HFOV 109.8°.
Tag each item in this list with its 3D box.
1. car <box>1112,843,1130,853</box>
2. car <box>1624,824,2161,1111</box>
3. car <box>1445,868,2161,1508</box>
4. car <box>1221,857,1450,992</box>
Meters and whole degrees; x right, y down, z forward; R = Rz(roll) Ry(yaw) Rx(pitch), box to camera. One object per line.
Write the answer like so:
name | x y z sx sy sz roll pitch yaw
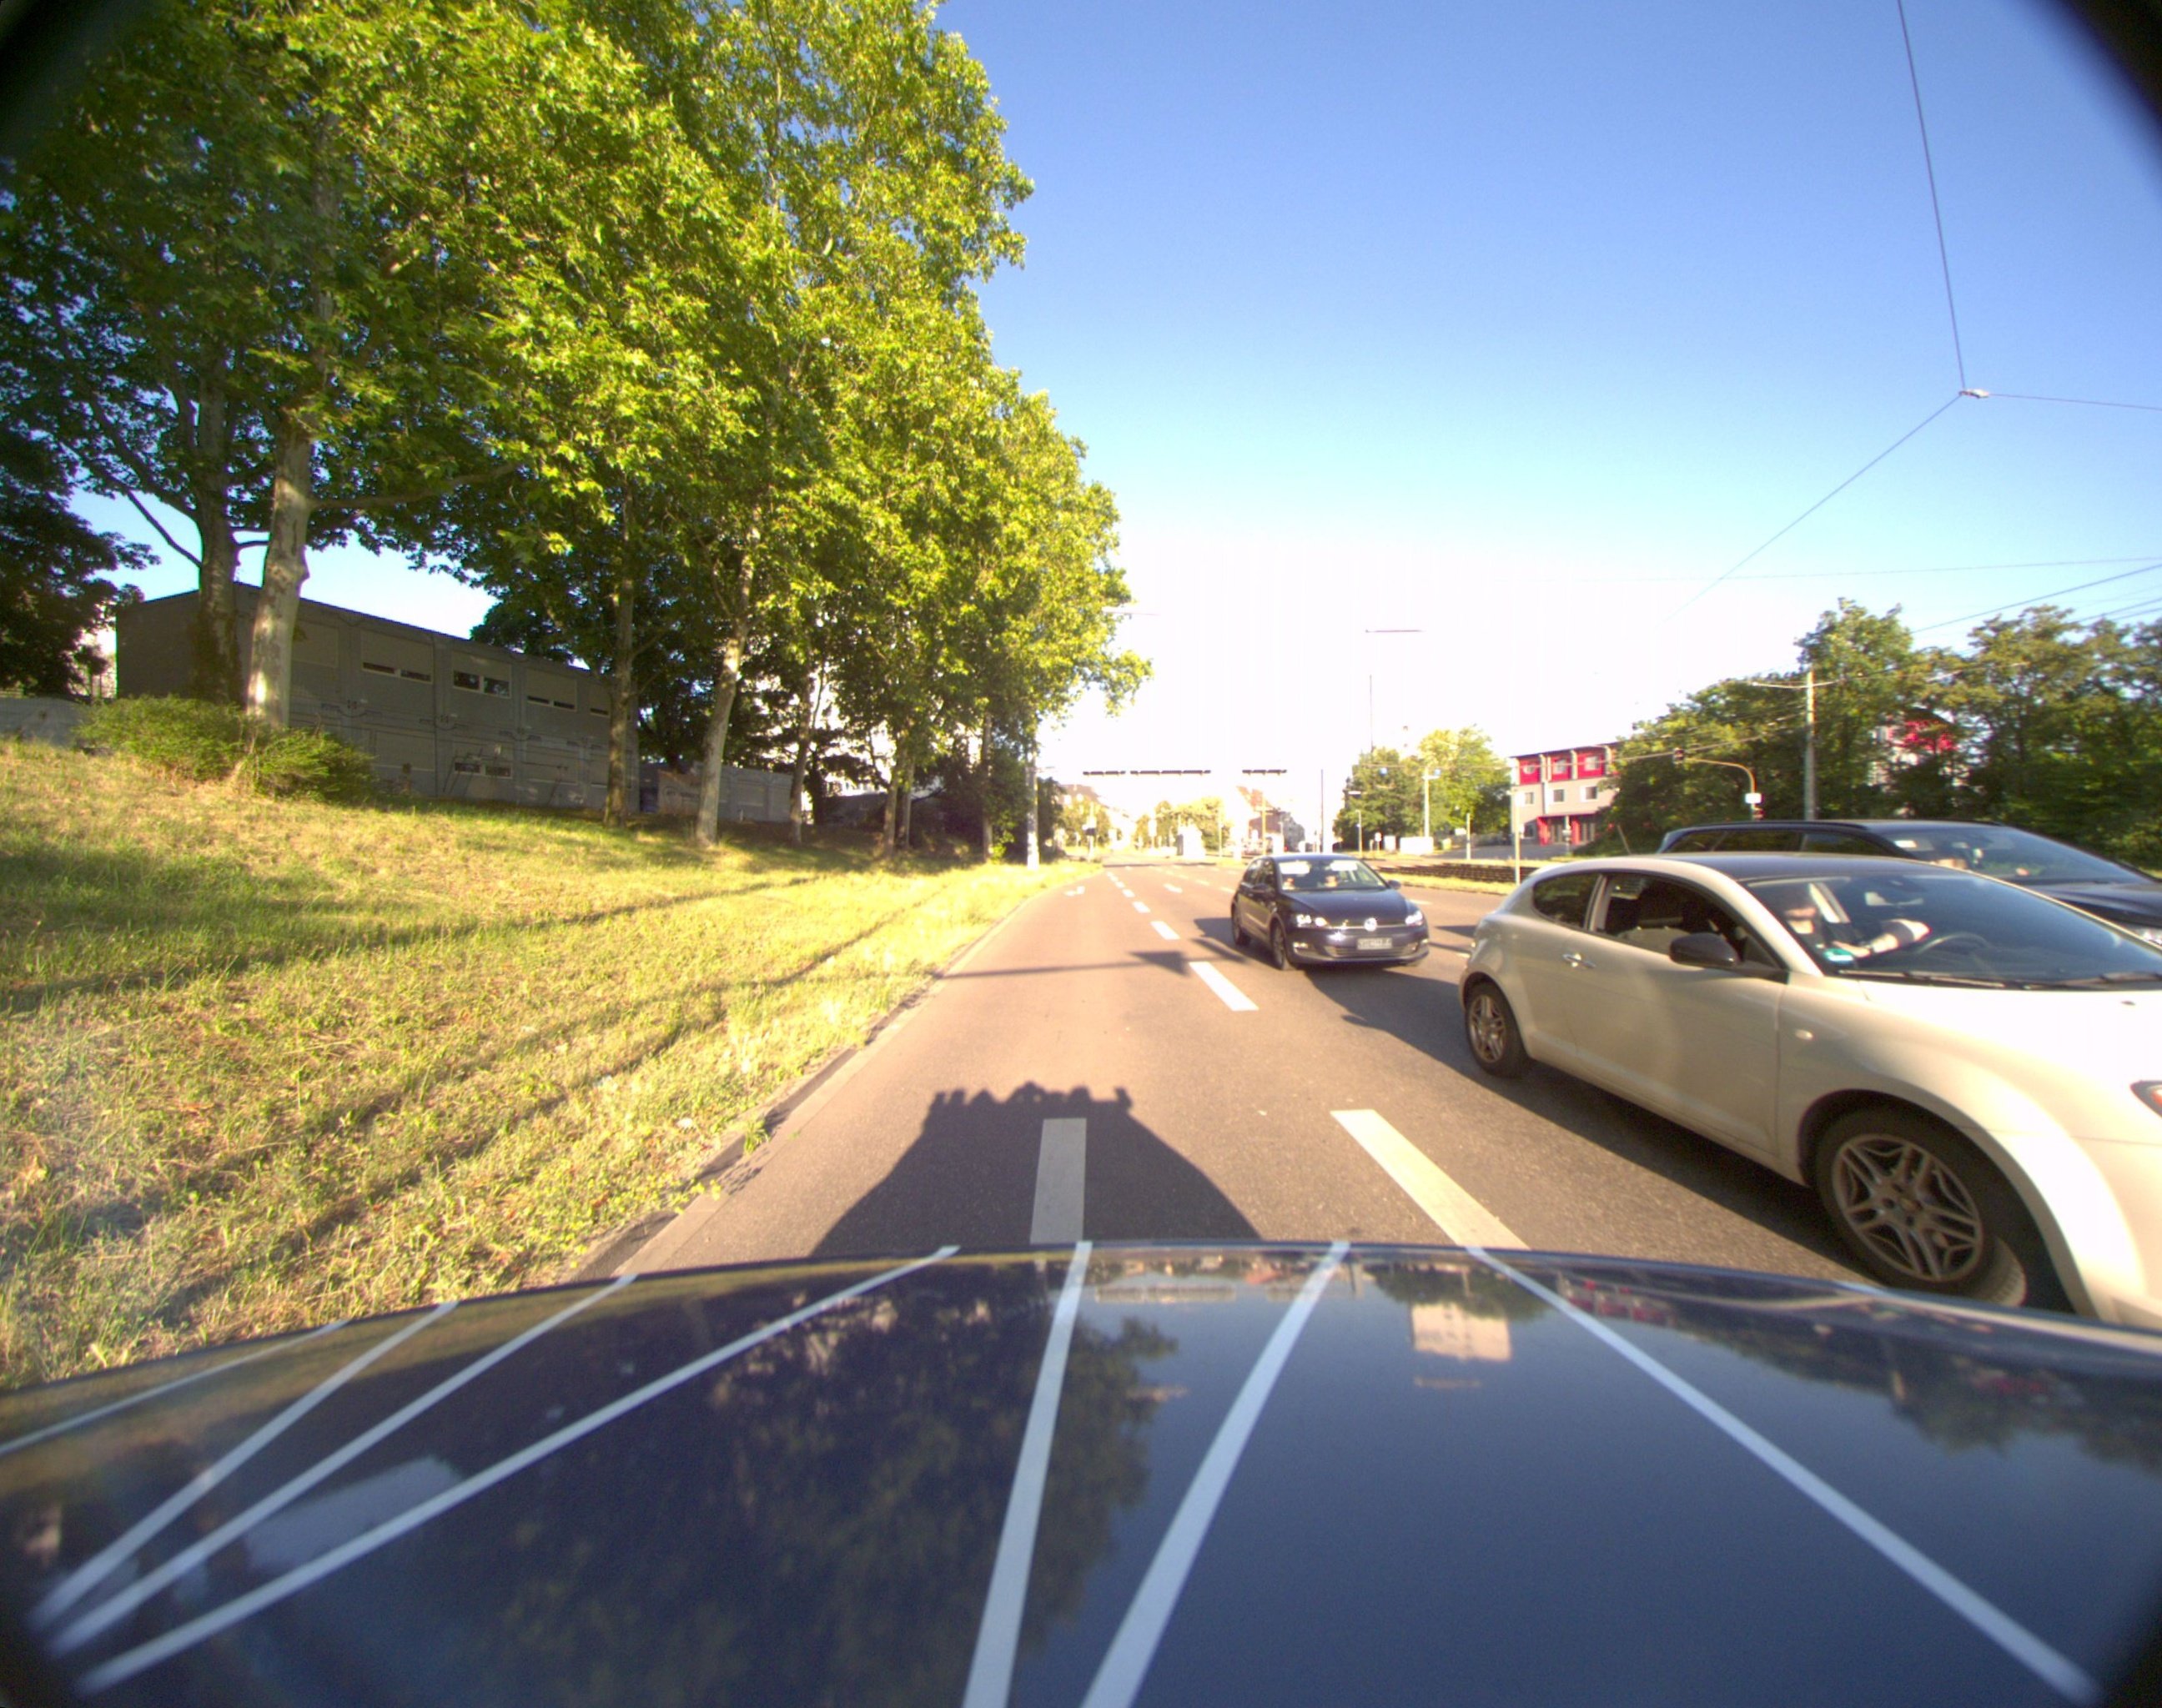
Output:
car | 7.978 -1.130 151.738 1.995 1.807 4.007 -2 1 31
car | 7.233 0.609 6.565 1.920 1.639 4.602 -1 0 2
car | 3.427 0.845 3.398 1.665 1.422 3.923 -2 0 -1
car | 3.207 0.790 10.443 1.782 1.422 3.923 -2 0 -1
